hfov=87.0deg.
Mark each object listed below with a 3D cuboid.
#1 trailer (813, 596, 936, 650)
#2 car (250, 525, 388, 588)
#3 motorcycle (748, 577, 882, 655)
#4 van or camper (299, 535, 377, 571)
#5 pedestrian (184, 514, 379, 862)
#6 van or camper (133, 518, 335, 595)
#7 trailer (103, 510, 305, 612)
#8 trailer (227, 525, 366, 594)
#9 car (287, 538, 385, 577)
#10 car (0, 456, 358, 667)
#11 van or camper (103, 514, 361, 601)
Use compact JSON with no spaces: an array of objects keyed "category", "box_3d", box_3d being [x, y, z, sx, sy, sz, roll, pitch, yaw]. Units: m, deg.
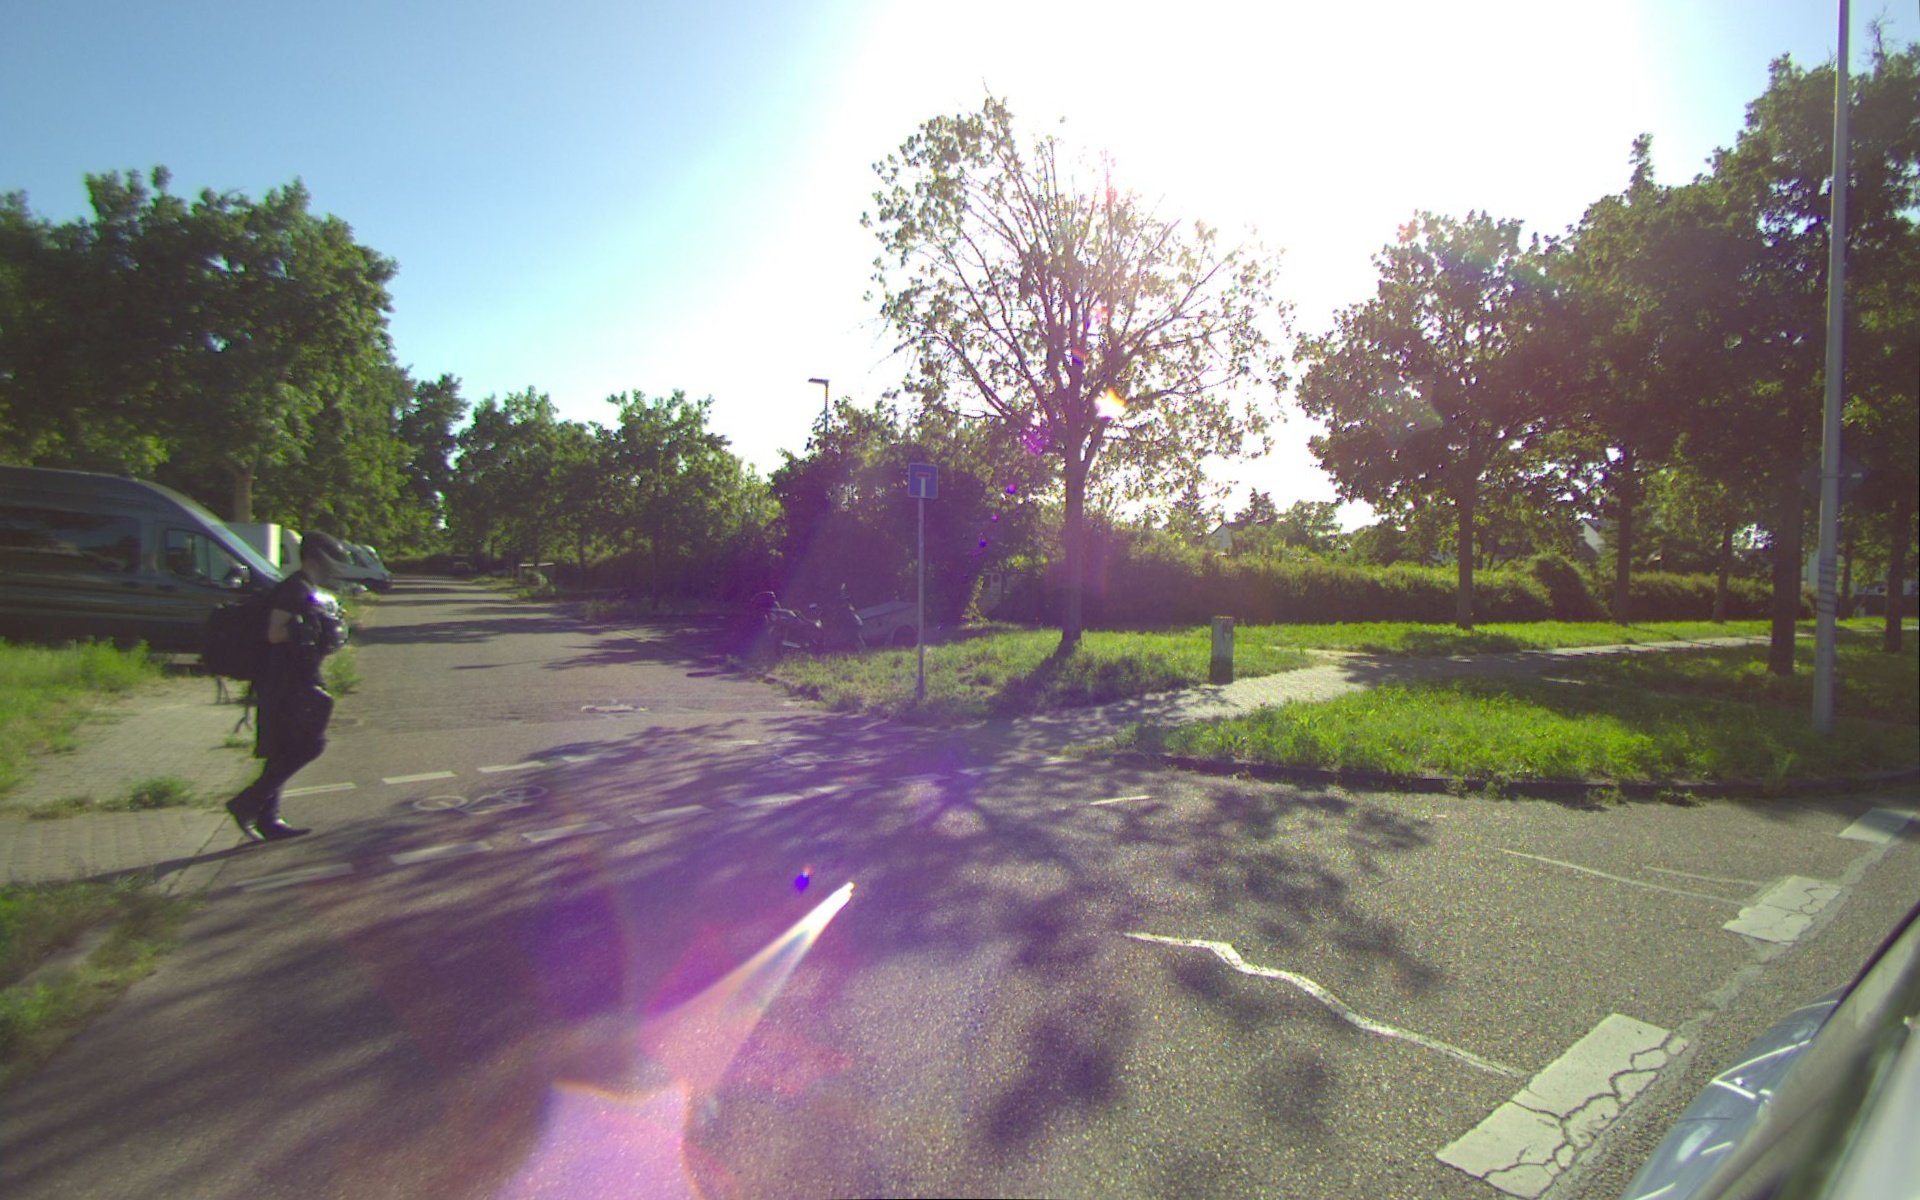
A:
[{"category":"trailer","box_3d":[-1.757,0.434,20.705,2.014,0.878,1.586,-4,4,-28]},{"category":"car","box_3d":[-31.291,-2.060,49.629,5.568,2.947,2.343,-1,0,-31]},{"category":"motorcycle","box_3d":[-2.675,0.267,18.823,2.359,1.246,0.666,-4,4,-29]},{"category":"van or camper","box_3d":[-51.991,-3.926,84.757,5.480,2.799,2.412,1,1,-30]},{"category":"pedestrian","box_3d":[-3.948,0.448,5.883,0.852,1.835,0.727,0,2,-41]},{"category":"van or camper","box_3d":[-26.658,-1.554,37.480,5.799,2.607,2.191,1,1,-29]},{"category":"trailer","box_3d":[-18.620,-0.928,25.166,3.713,2.336,2.199,1,1,-29]},{"category":"trailer","box_3d":[-26.718,-1.609,40.899,4.553,2.607,2.189,0,2,-33]},{"category":"car","box_3d":[-41.447,-2.779,67.335,5.463,2.444,2.205,-1,0,-31]},{"category":"car","box_3d":[-12.030,-0.494,14.288,5.850,2.599,2.093,4,-2,-29]},{"category":"van or camper","box_3d":[-23.722,-1.346,33.422,6.640,2.607,2.191,1,1,-29]}]
